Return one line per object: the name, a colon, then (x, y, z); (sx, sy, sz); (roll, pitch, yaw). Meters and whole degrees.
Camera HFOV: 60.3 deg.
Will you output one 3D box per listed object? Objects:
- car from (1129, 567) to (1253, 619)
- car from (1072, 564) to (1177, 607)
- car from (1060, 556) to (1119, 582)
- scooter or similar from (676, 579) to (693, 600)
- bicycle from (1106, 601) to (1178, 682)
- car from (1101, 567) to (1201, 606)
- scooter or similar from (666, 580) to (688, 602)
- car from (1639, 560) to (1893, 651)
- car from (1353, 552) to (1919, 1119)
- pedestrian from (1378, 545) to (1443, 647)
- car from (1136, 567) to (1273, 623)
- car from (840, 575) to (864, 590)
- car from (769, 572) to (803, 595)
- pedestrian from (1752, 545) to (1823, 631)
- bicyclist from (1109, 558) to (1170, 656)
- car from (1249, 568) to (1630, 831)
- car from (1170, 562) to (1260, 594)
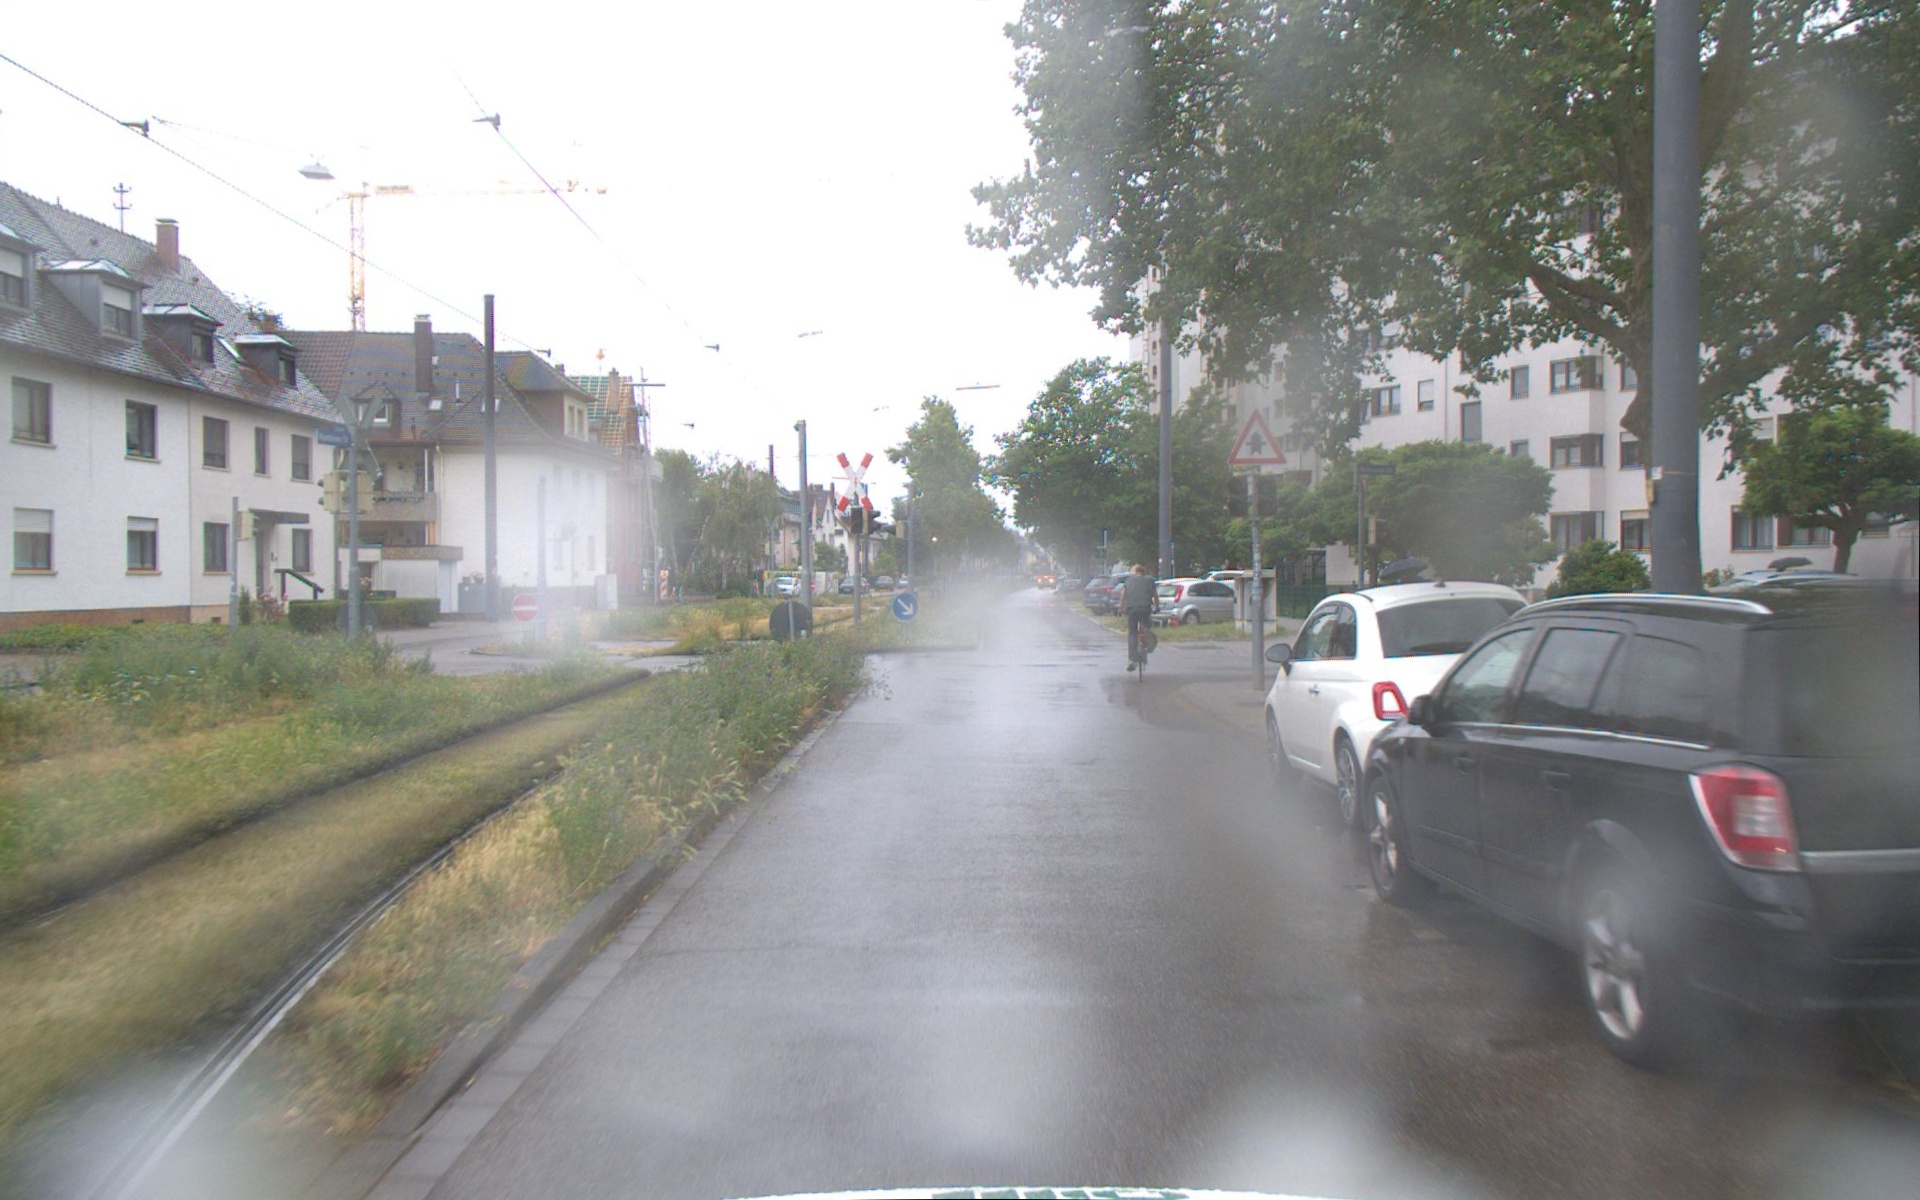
car: (7.484, -0.234, 53.496); (3.959, 1.534, 1.682); (-2, -1, -38)
car: (6.837, -0.601, 68.512); (4.308, 1.680, 1.832); (-2, 1, -40)
car: (9.946, -2.381, 127.423); (4.091, 1.748, 1.981); (-4, 2, -29)
scooter or similar: (-15.460, -0.598, 92.944); (0.385, 1.201, 1.284); (0, 1, 17)
bicycle: (2.761, 0.606, 25.372); (0.793, 1.116, 2.517); (-1, 1, 0)
car: (7.575, -0.550, 65.487); (3.962, 1.453, 1.710); (-2, 1, -40)
scooter or similar: (-15.363, -0.502, 89.837); (0.432, 1.149, 1.280); (0, 1, 32)
car: (16.178, 0.098, 33.367); (4.203, 1.710, 1.872); (-1, 0, 3)
car: (3.010, 0.567, 6.443); (1.861, 1.474, 4.183); (-1, 1, -1)
pedestrian: (8.358, -0.089, 30.757); (1.076, 1.845, 1.435); (0, 1, 11)
car: (7.433, -0.145, 50.118); (3.953, 1.534, 1.762); (-2, -1, -35)
car: (-9.628, -1.577, 148.090); (1.628, 1.266, 4.074); (2, 1, 3)
car: (-12.480, -1.204, 118.860); (1.674, 1.569, 4.425); (2, 1, 4)
pedestrian: (17.544, -0.267, 35.084); (1.154, 1.799, 0.720); (0, 1, -2)
bicyclist: (2.751, 0.092, 25.389); (0.793, 1.457, 1.060); (-1, 1, -1)
car: (3.233, 0.563, 11.939); (1.526, 1.545, 4.000); (-1, 1, -1)
car: (14.534, -1.250, 94.290); (4.719, 1.776, 1.994); (-1, 1, -13)
